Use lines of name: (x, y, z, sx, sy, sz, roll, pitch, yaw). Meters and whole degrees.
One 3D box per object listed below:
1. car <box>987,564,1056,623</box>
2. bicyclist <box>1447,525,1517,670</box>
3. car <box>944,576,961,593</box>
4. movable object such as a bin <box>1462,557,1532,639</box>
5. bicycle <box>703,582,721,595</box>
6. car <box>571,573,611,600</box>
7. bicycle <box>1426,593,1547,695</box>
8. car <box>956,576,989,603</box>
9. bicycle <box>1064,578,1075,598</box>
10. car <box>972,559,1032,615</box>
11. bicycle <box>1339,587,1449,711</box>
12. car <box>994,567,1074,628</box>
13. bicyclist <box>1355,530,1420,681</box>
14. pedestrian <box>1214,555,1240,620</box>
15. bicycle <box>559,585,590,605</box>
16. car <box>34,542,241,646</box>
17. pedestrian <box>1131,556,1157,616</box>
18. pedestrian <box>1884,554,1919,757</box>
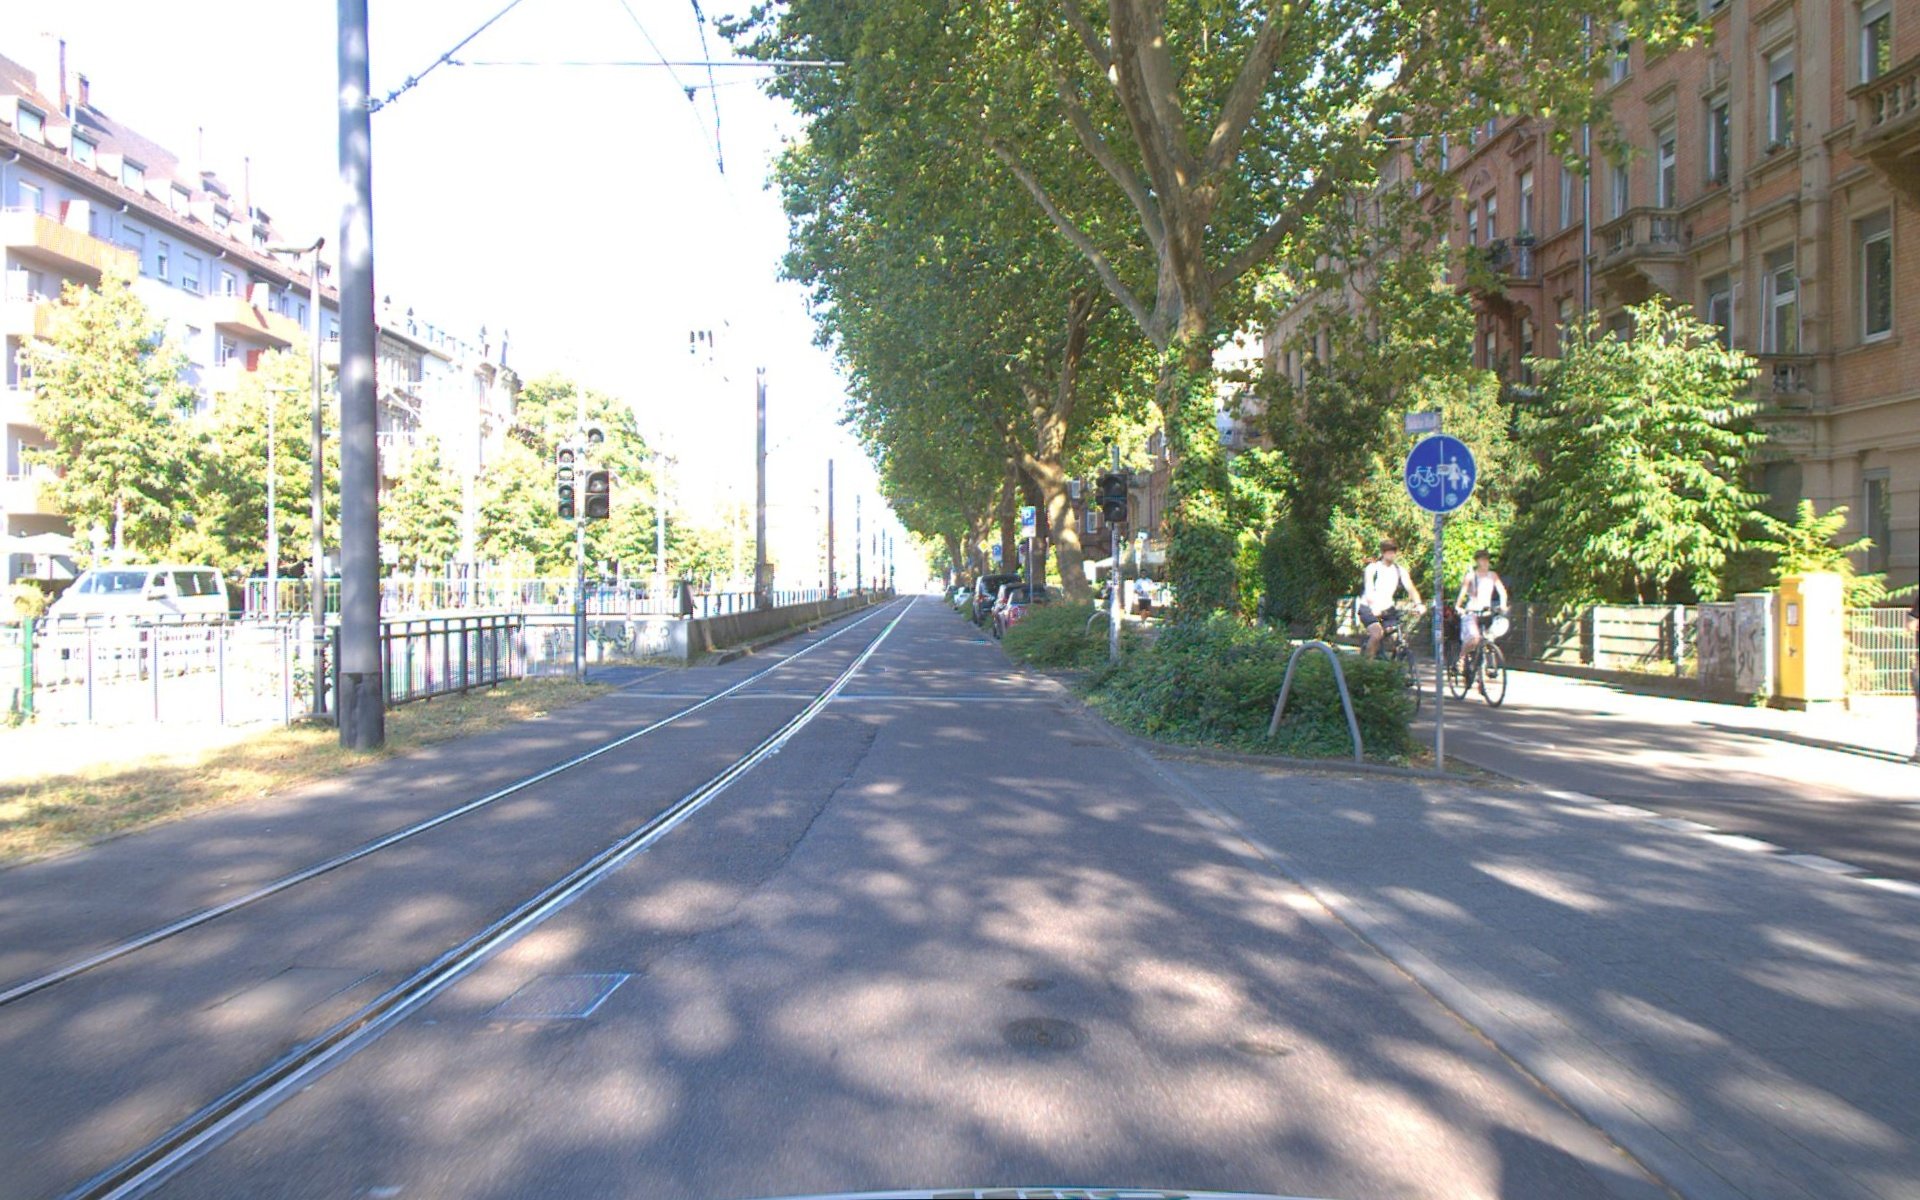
car: (1.741, -0.177, 48.163, 1.680, 1.576, 4.499, -2, 0, -2)
bicyclist: (6.093, -0.040, 19.318, 0.532, 1.654, 0.643, -1, 1, -8)
car: (-0.738, -1.558, 166.396, 1.584, 1.615, 4.415, -1, 1, -2)
movable object such as a bin: (10.213, -0.044, 31.485, 0.888, 1.490, 1.083, -2, 1, -3)
bicycle: (-24.751, -1.157, 165.049, 1.694, 1.302, 0.600, 0, 0, 5)
car: (-23.390, -0.847, 105.074, 1.796, 1.612, 3.998, 2, 1, -3)
bicycle: (6.123, 0.486, 19.331, 0.550, 1.055, 1.930, -2, 2, -8)
car: (0.710, -0.629, 96.705, 1.766, 1.503, 4.645, 0, 1, -2)
bicycle: (6.523, -0.726, 98.430, 0.465, 1.163, 1.896, -2, 1, -1)
car: (1.578, -0.545, 64.398, 1.954, 2.048, 5.200, -1, 1, -3)
bicycle: (4.794, 0.507, 18.425, 0.549, 1.198, 2.225, -1, 3, -3)
car: (1.840, -0.053, 42.322, 1.680, 1.488, 3.998, 1, 0, -3)
bicyclist: (4.786, 0.048, 18.532, 0.532, 1.653, 0.644, -1, 3, -3)
pedestrian: (7.026, -0.335, 43.559, 0.519, 1.656, 0.617, -2, 2, -1)
bicycle: (-23.794, -0.299, 102.062, 1.771, 1.199, 0.562, 2, 0, 1)
car: (-17.959, -0.126, 36.414, 1.953, 2.049, 5.012, -2, 0, 0)
pedestrian: (5.687, -0.446, 51.126, 0.675, 1.816, 0.644, -1, 2, -3)
pedestrian: (7.787, 0.429, 13.143, 0.528, 1.576, 0.607, -1, 3, -3)
